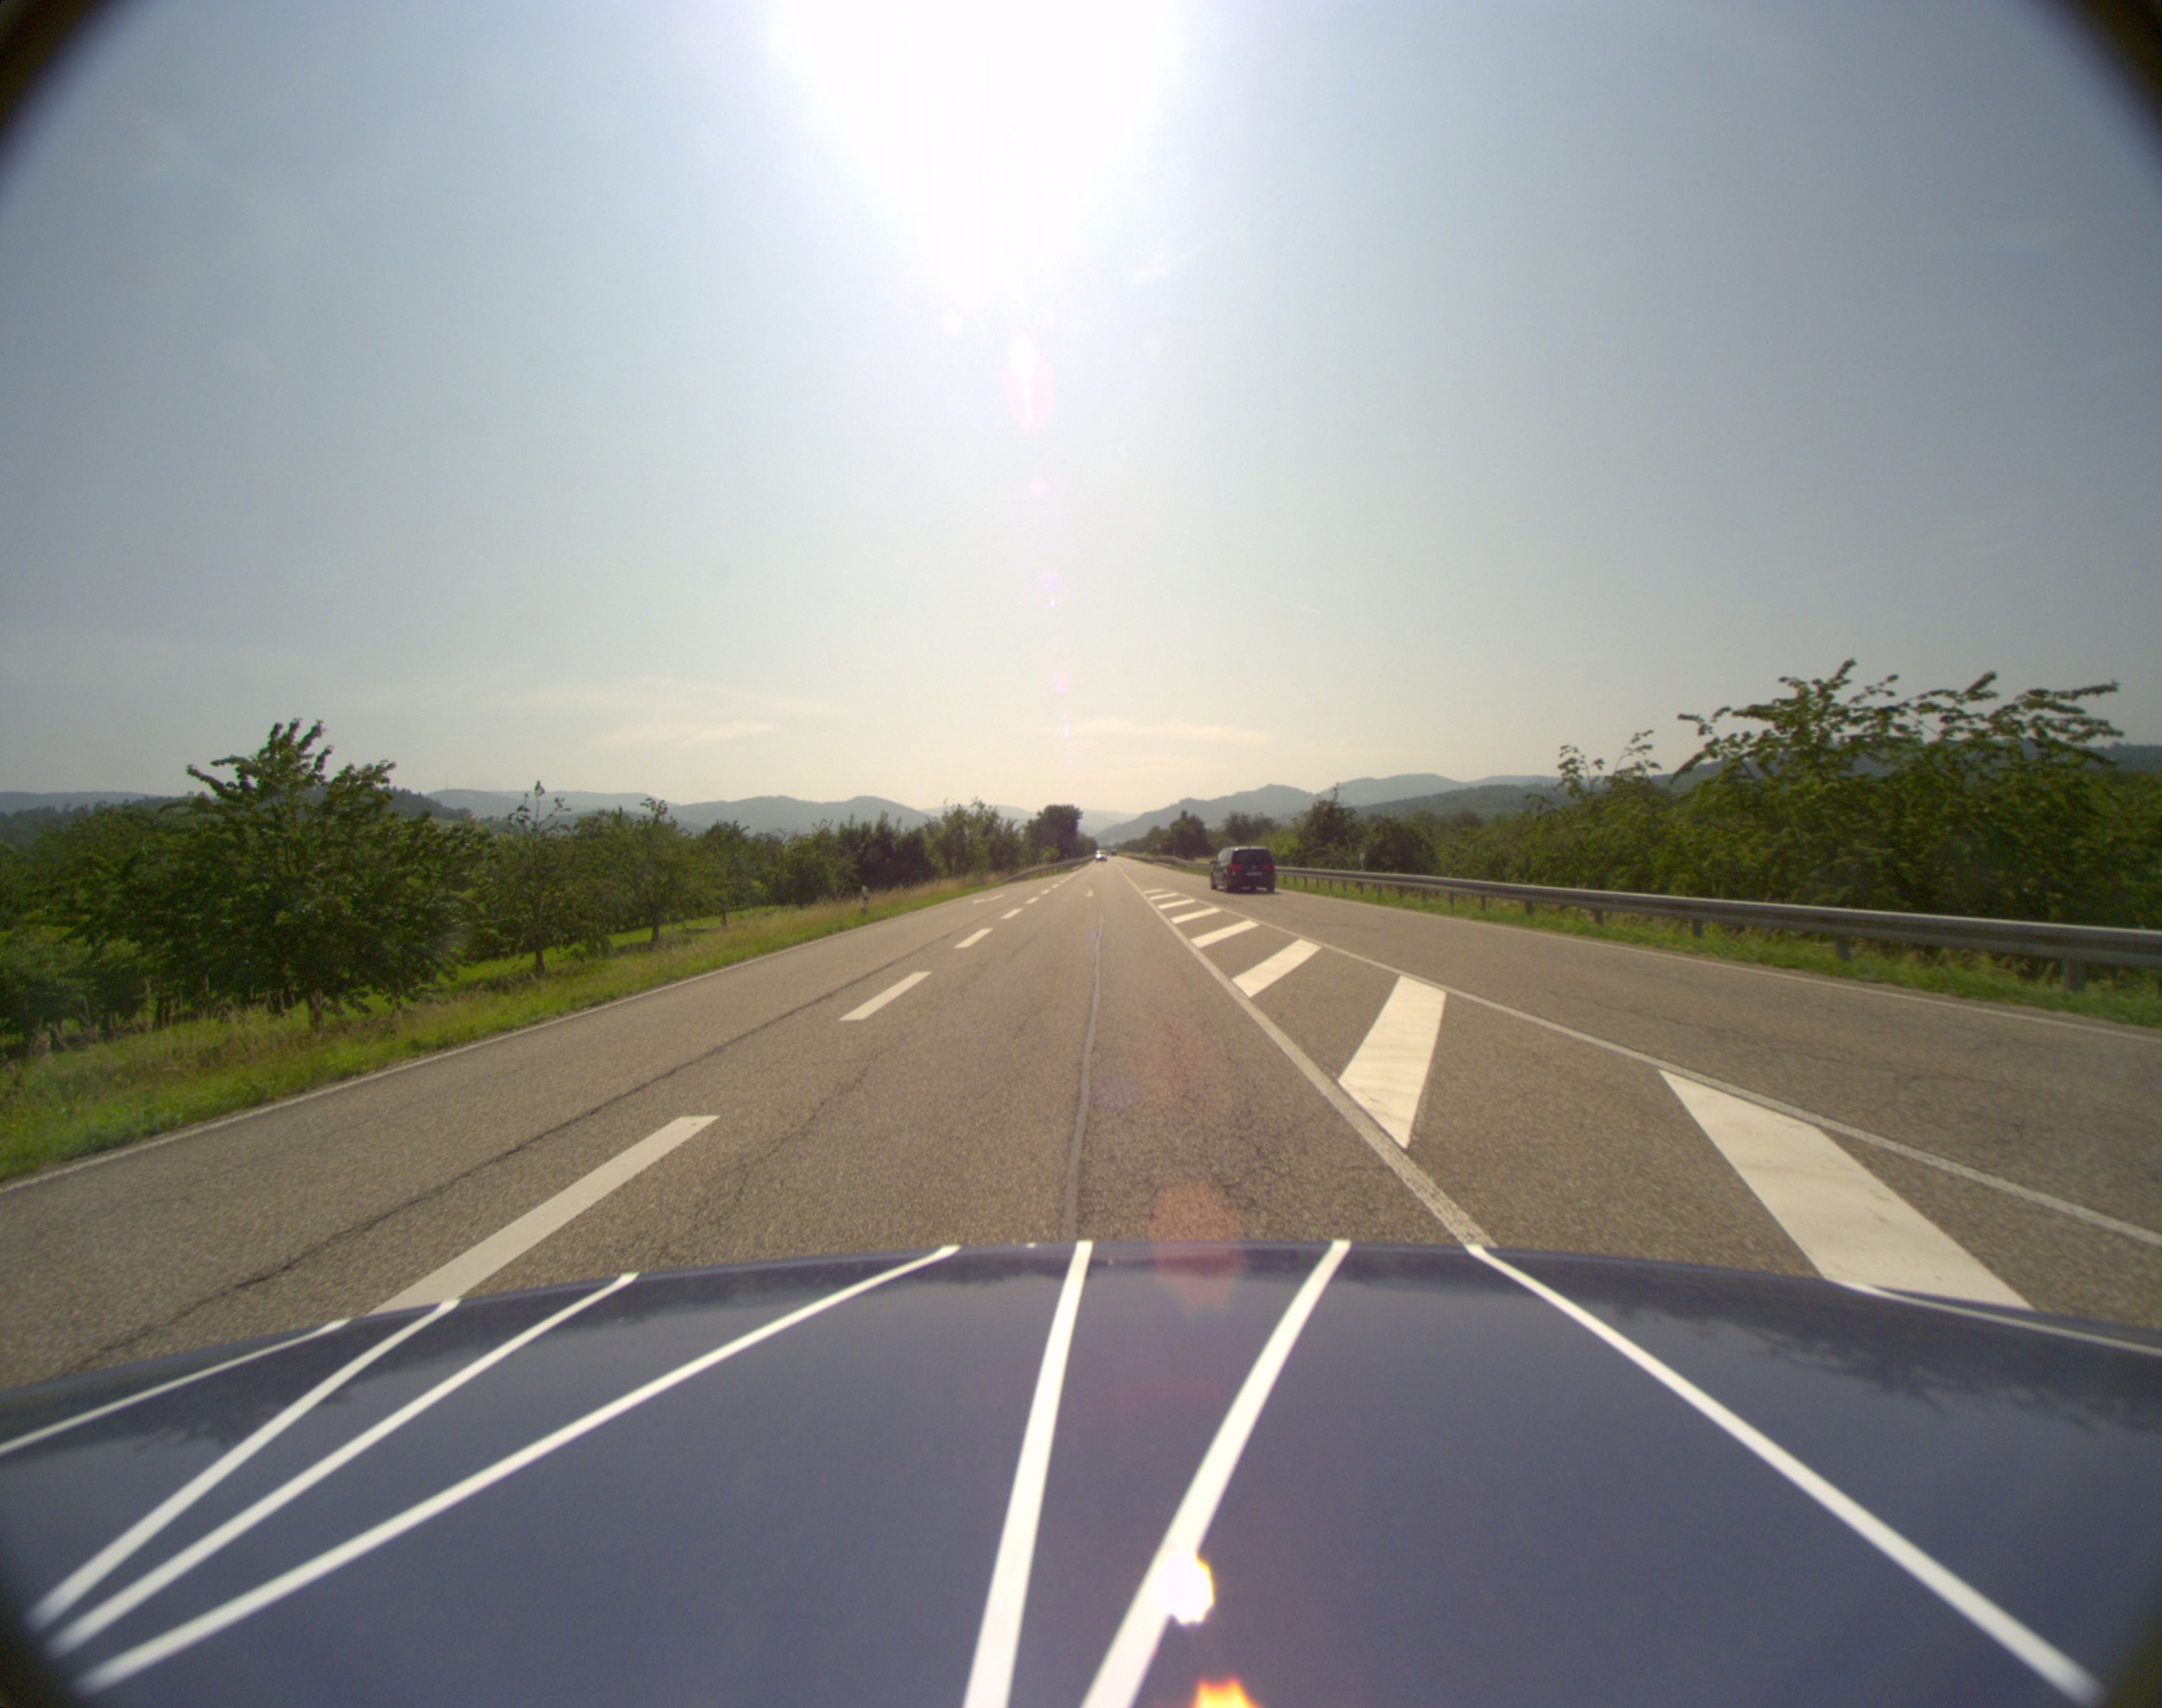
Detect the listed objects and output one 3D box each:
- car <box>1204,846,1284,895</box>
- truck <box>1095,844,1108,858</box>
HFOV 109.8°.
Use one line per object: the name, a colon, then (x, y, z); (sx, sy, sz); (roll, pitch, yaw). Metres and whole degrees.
car: (5.928, 0.534, 28.215); (1.808, 1.628, 4.808); (-2, 1, -1)
truck: (3.546, -0.560, 133.085); (2.031, 2.232, 4.765); (-2, 1, 3)
